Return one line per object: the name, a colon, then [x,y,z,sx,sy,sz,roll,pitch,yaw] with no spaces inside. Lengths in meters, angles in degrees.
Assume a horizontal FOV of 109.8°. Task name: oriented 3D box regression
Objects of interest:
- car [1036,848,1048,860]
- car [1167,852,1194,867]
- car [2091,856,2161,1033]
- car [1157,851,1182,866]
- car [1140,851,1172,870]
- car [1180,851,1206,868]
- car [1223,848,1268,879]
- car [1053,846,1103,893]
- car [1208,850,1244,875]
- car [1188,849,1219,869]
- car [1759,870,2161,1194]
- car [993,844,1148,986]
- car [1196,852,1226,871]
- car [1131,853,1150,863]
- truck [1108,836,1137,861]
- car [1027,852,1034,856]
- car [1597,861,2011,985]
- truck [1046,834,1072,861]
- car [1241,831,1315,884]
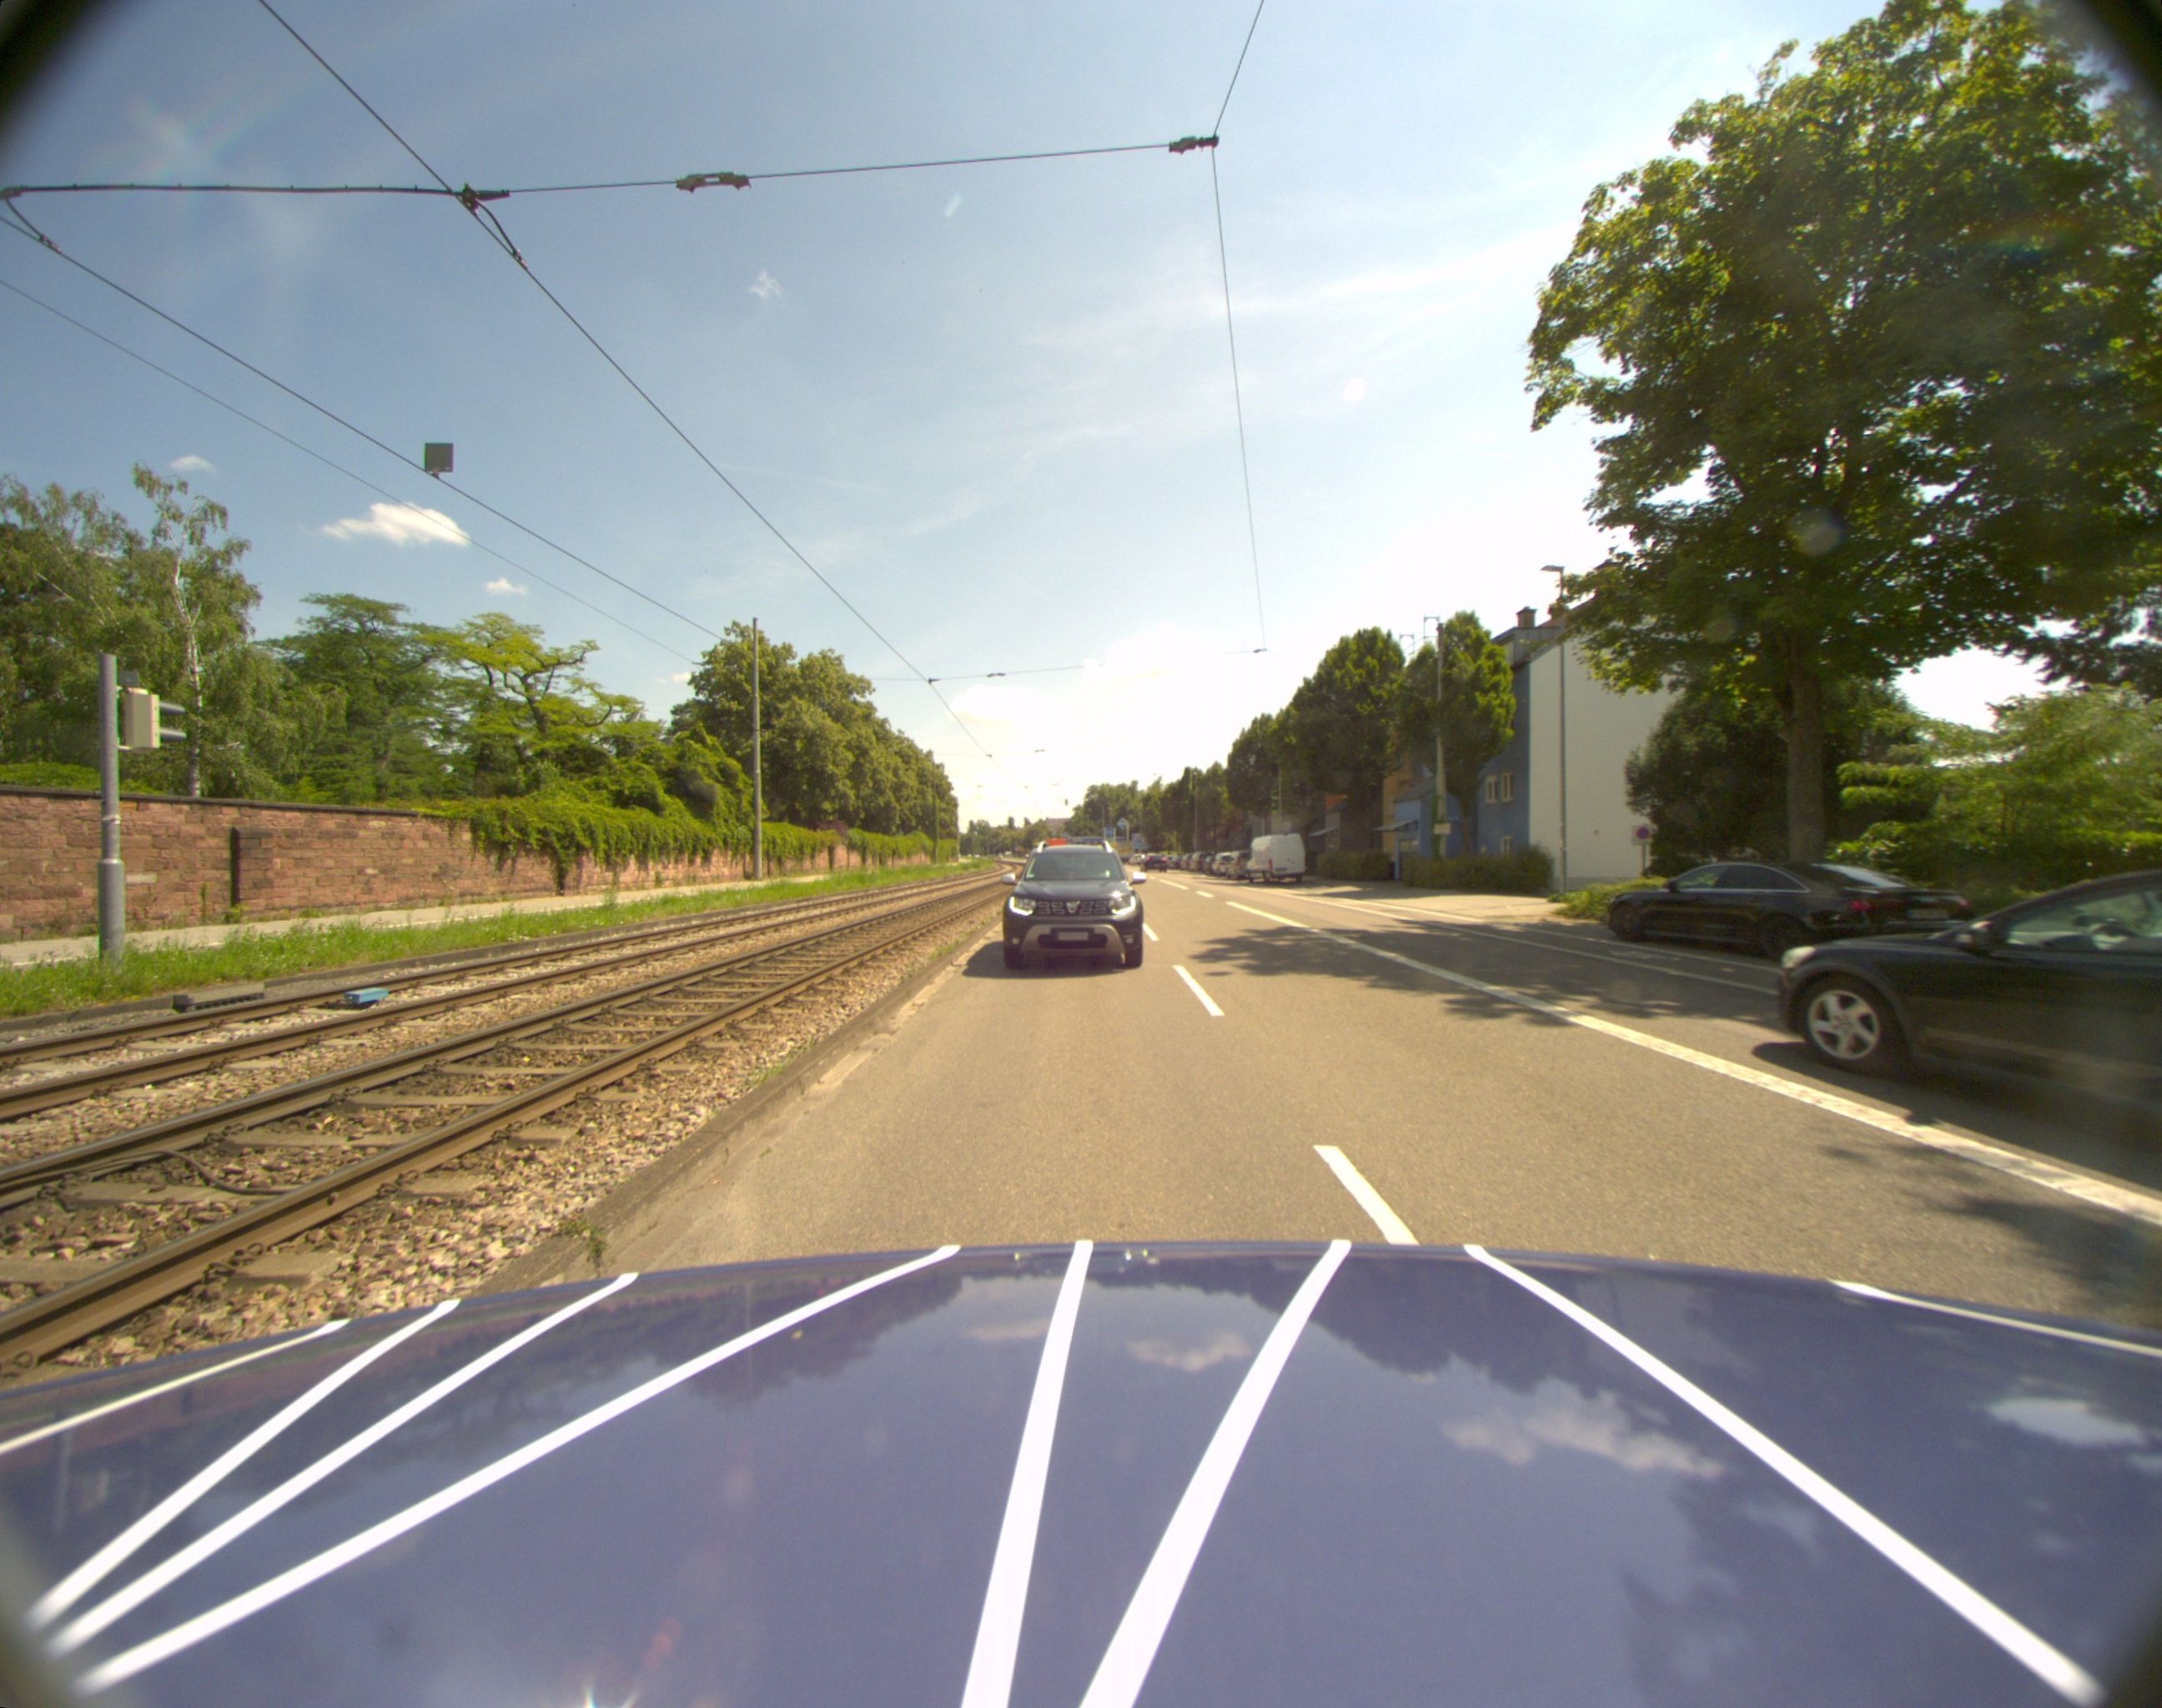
car: [-6.792,-0.057,131.495,1.999,2.002,3.998,-1,1,-5]
car: [10.274,0.570,78.914,1.746,1.438,4.962,-2,0,-4]
car: [10.778,0.827,5.109,1.779,1.595,4.636,-1,0,-1]
car: [9.878,0.456,85.142,1.660,1.500,4.892,-3,1,-6]
car: [5.927,0.473,60.682,1.780,1.451,4.192,1,0,-5]
car: [10.648,0.504,72.796,1.660,1.608,4.283,1,1,-3]
car: [10.962,0.598,50.919,1.811,1.884,5.361,-3,0,0]
car: [-0.134,0.550,29.648,1.801,1.683,4.143,-1,1,-1]
car: [10.848,0.610,57.022,1.721,1.742,4.903,-1,0,-1]
car: [10.790,0.458,67.347,1.756,1.706,4.886,0,0,-3]
car: [5.673,0.849,3.363,1.682,1.390,4.005,2,0,-1]
car: [-0.092,0.721,11.360,1.801,1.652,4.788,-1,0,1]
car: [10.641,0.572,62.234,1.603,1.462,4.086,0,0,-3]
car: [8.138,0.525,104.518,1.661,1.402,4.394,0,0,-8]
truck: [6.260,-0.790,116.250,2.840,3.528,8.164,-2,0,-8]
car: [-15.459,-0.006,232.856,2.000,1.379,3.997,0,0,-7]
car: [10.558,0.875,11.780,1.779,1.447,4.803,0,0,-1]
truck: [-3.054,-0.882,102.325,2.847,3.574,8.699,-1,1,-6]
car: [11.021,0.172,43.148,2.329,2.635,7.035,-4,0,1]
